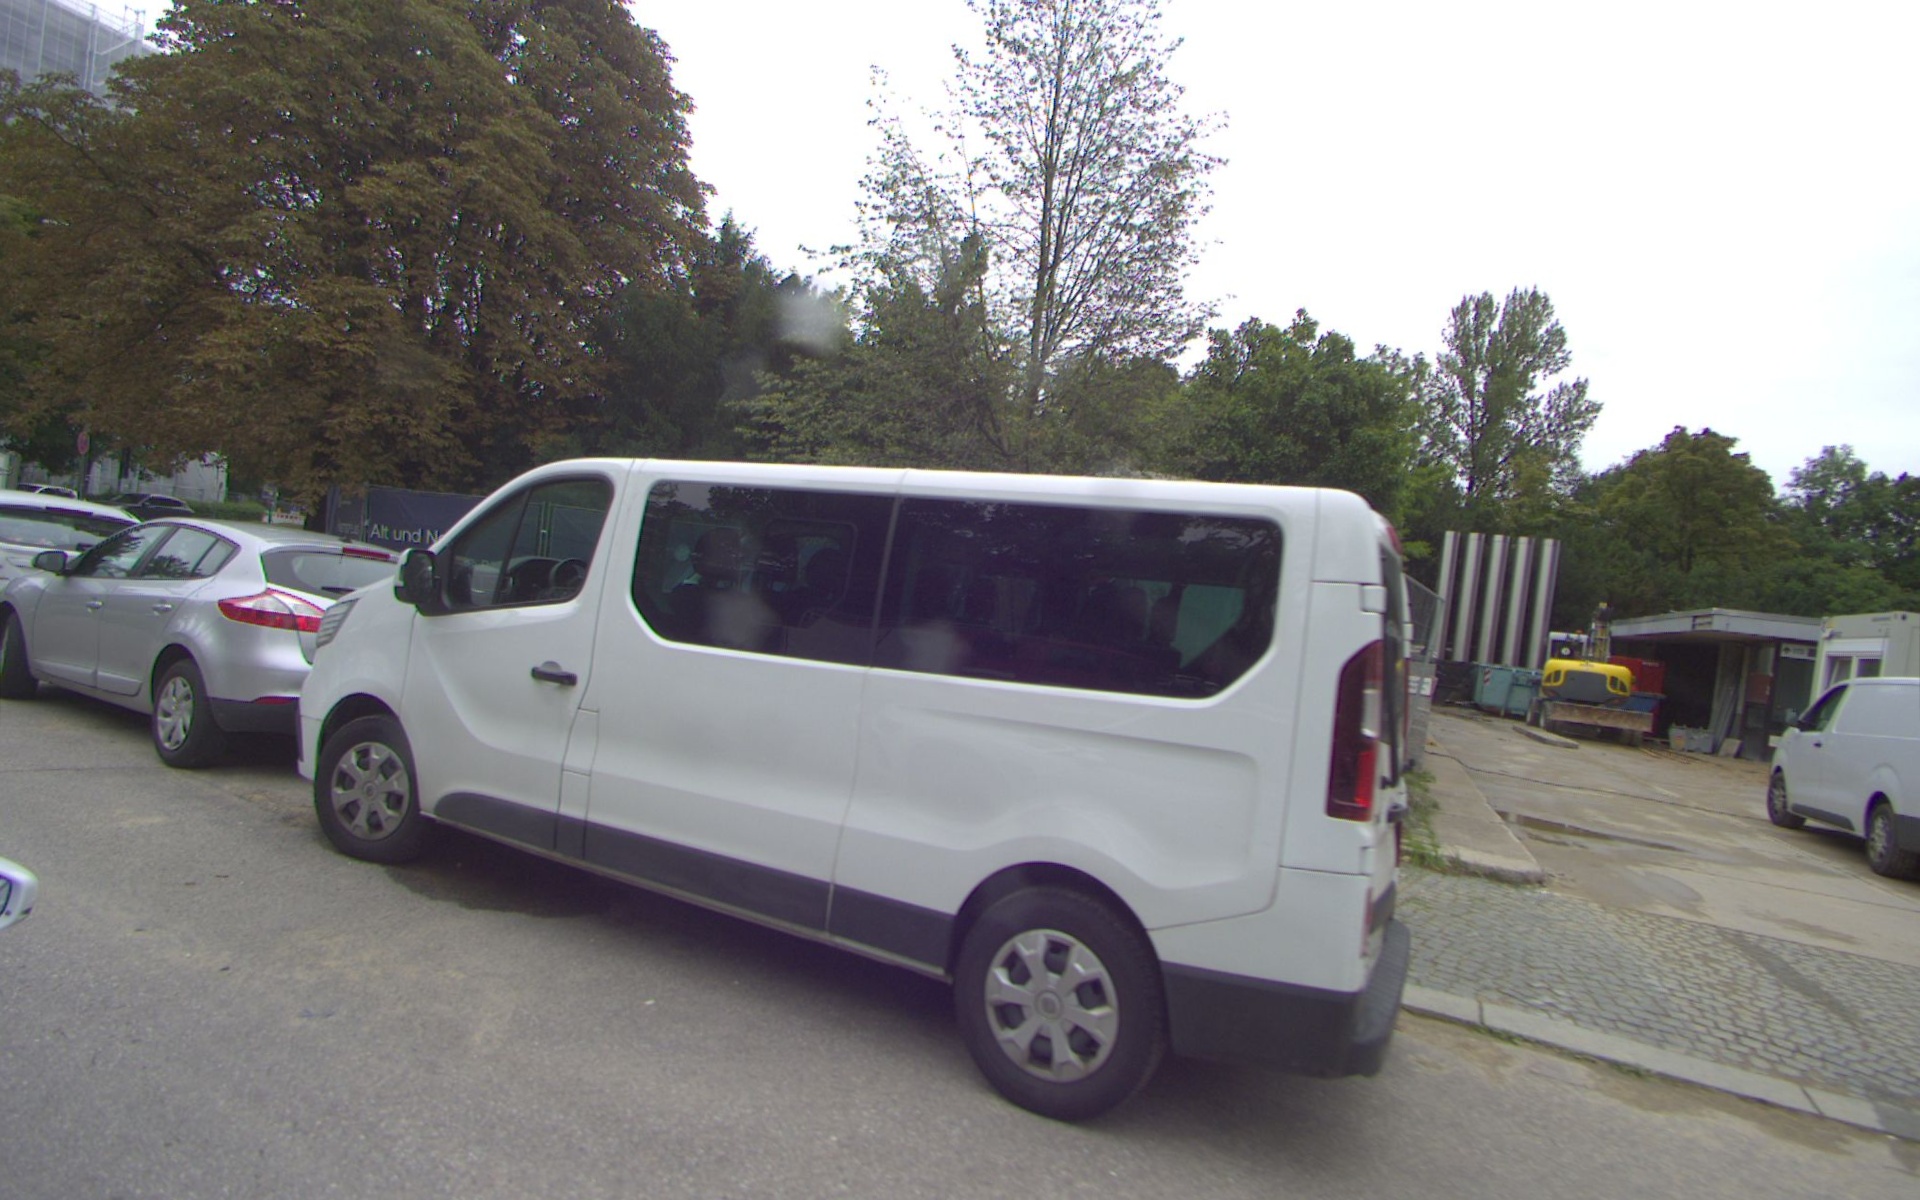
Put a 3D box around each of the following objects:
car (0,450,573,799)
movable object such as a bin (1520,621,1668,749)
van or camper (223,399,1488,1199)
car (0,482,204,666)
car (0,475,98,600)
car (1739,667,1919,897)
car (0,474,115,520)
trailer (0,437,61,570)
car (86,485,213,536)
[{"bbox_3d":[-5.169,0.036,7.249,4.374,1.749,1.997,7,-1,30],"label":"car"},{"bbox_3d":[18.721,2.447,30.042,2.753,3.140,5.073,8,0,25],"label":"movable object such as a bin"},{"bbox_3d":[-0.710,0.390,4.548,5.283,2.037,1.999,7,-1,28],"label":"van or camper"},{"bbox_3d":[-9.418,-0.391,10.043,4.155,1.505,1.766,7,1,36],"label":"car"},{"bbox_3d":[-13.433,-0.991,13.692,4.265,1.456,1.869,8,2,40],"label":"car"},{"bbox_3d":[10.002,1.786,10.245,1.964,1.945,4.774,7,0,24],"label":"car"},{"bbox_3d":[-38.452,-4.346,42.542,1.769,1.401,4.217,7,0,-1],"label":"car"},{"bbox_3d":[-16.964,-1.755,17.362,1.800,2.039,4.781,6,1,-39],"label":"trailer"},{"bbox_3d":[-37.681,-4.120,46.919,1.856,1.625,4.400,7,-1,8],"label":"car"}]
